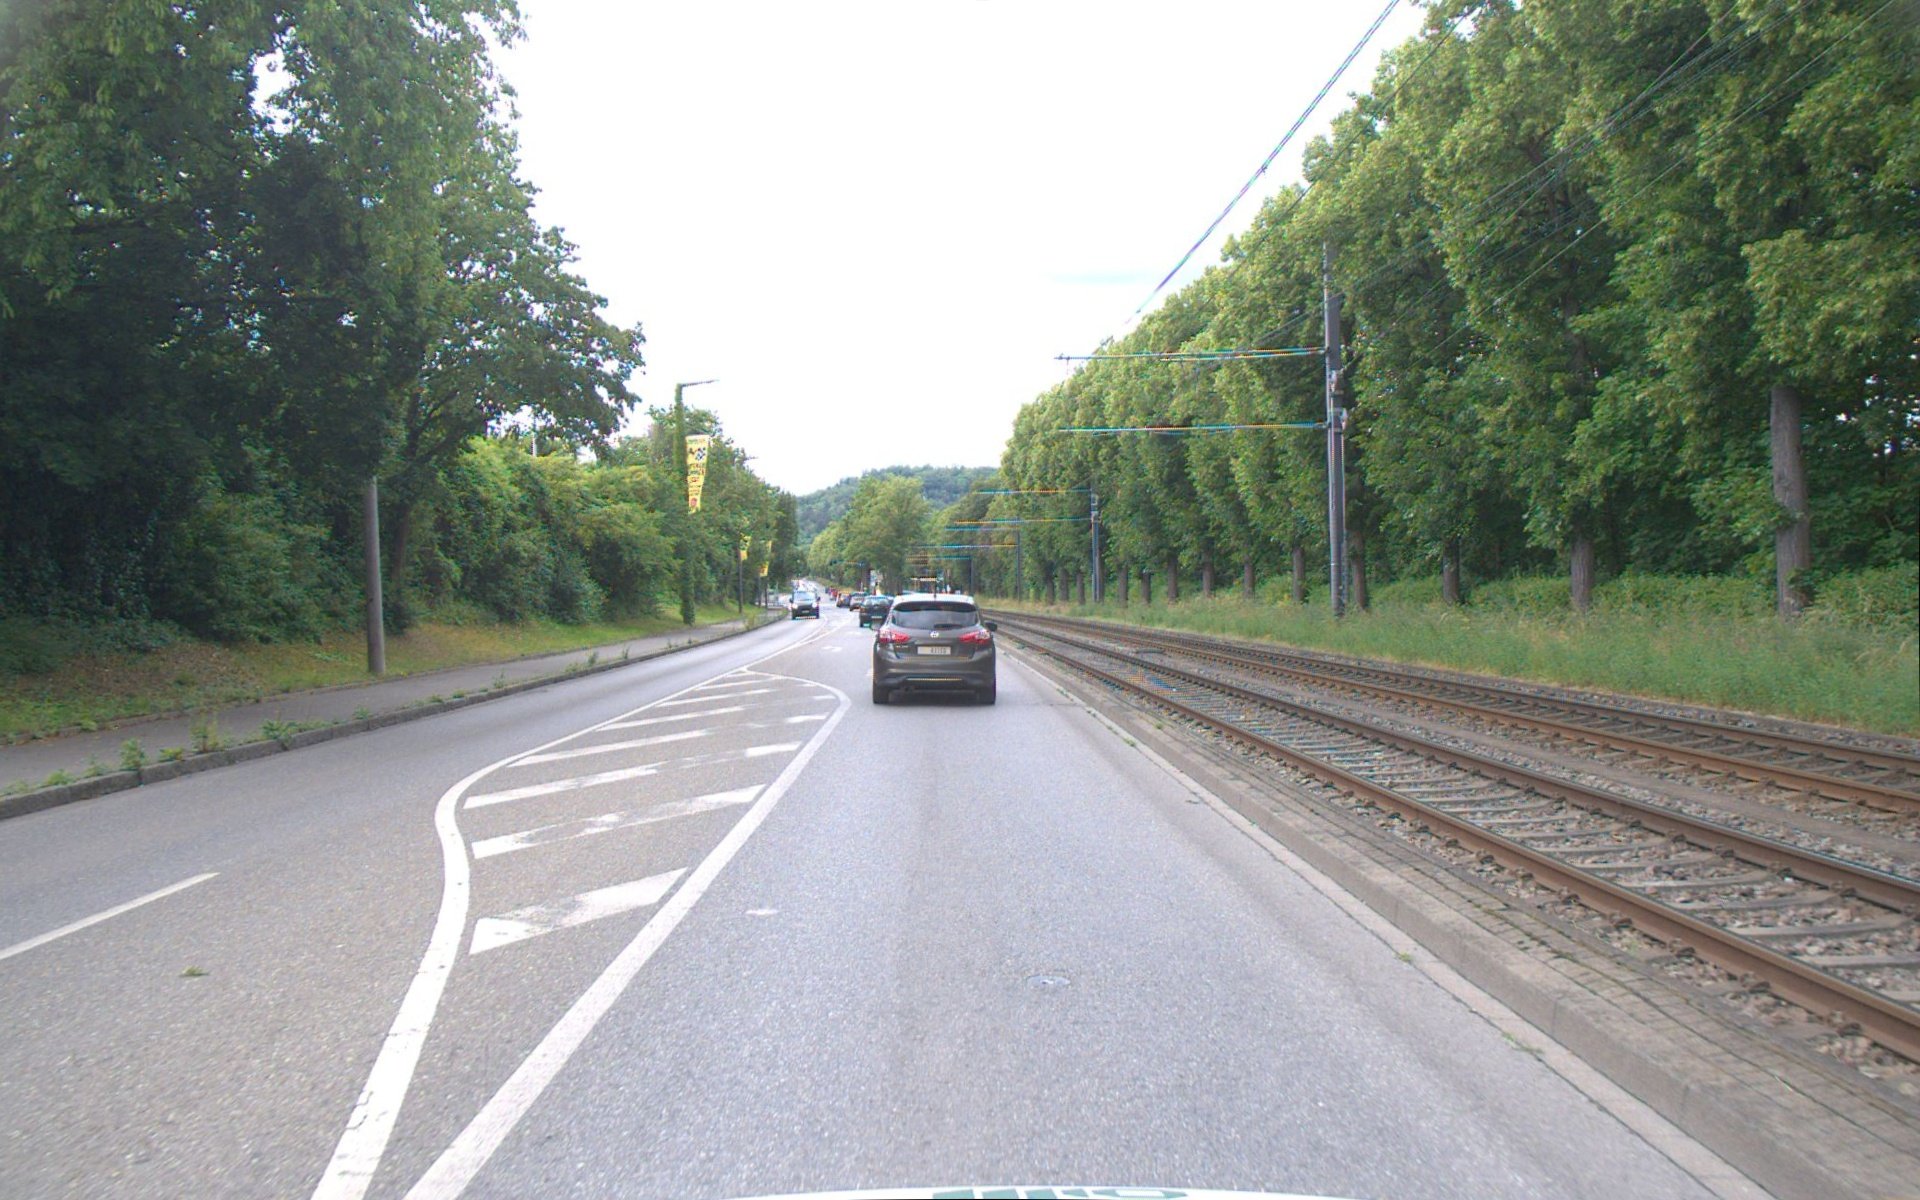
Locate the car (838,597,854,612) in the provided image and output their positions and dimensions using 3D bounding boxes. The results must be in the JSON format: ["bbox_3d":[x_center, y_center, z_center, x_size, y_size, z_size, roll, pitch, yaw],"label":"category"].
[{"bbox_3d":[-13.975,0.544,202.734,1.665,1.744,3.999,0,0,-1],"label":"car"}]

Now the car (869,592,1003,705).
[{"bbox_3d":[-0.345,0.650,24.366,1.813,1.519,3.999,0,0,-1],"label":"car"}]

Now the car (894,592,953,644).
[{"bbox_3d":[-1.093,0.517,48.803,1.665,1.469,3.998,0,0,-2],"label":"car"}]

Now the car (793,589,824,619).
[{"bbox_3d":[-10.891,0.289,118.826,1.954,2.071,5.112,-3,0,-3],"label":"car"}]

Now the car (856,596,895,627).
[{"bbox_3d":[-4.023,0.532,79.338,1.665,1.469,3.999,0,0,-1],"label":"car"}]

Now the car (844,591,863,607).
[{"bbox_3d":[-10.481,-0.086,163.027,1.758,1.537,3.999,0,0,-1],"label":"car"}]

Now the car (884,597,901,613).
[{"bbox_3d":[-6.847,0.471,167.586,1.681,1.577,3.998,0,-1,-3],"label":"car"}]

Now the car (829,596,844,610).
[{"bbox_3d":[-15.914,0.337,212.636,1.665,1.744,3.999,0,0,-1],"label":"car"}]
